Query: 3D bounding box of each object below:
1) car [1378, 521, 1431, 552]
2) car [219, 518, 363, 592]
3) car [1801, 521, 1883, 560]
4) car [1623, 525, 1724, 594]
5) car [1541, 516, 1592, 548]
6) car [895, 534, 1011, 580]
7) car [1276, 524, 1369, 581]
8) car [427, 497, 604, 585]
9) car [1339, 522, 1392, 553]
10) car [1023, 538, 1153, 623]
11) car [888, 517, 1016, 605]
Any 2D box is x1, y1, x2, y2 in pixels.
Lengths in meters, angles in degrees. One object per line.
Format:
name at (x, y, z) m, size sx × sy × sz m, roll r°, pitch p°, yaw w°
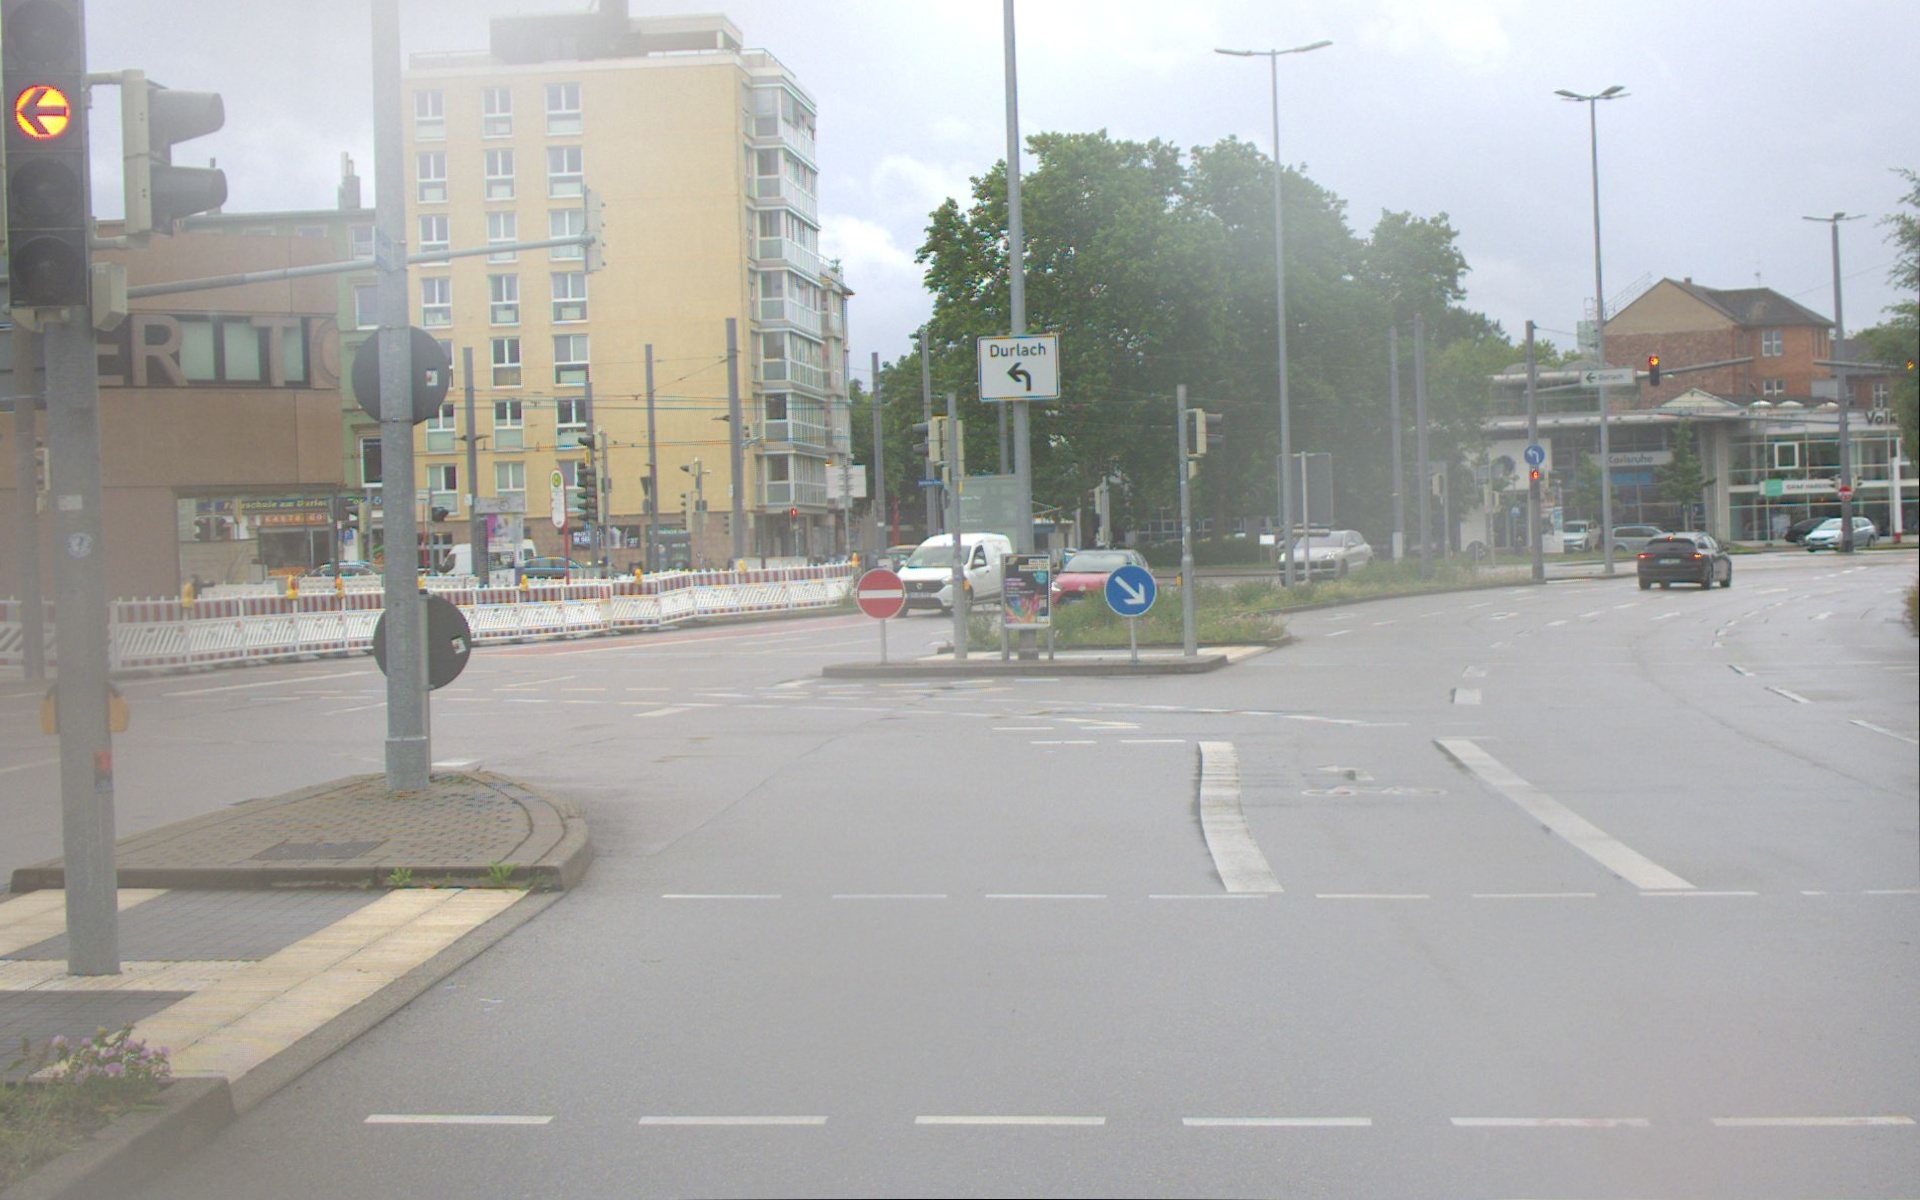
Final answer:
car at (24.590, -3.512, 189.981) m, size 1.792 × 1.637 × 4.154 m, roll -1°, pitch 1°, yaw 23°
car at (-27.615, -1.867, 142.115) m, size 5.351 × 2.877 × 2.339 m, roll -2°, pitch 1°, yaw 2°
car at (39.123, -2.655, 152.489) m, size 1.794 × 1.637 × 4.149 m, roll -1°, pitch 2°, yaw 42°
car at (18.047, -1.031, 86.833) m, size 1.792 × 1.637 × 4.155 m, roll -1°, pitch 1°, yaw 21°
car at (32.910, -3.700, 186.501) m, size 1.792 × 1.637 × 4.154 m, roll -1°, pitch 1°, yaw 23°
car at (-0.262, -1.651, 132.425) m, size 4.382 × 1.637 × 1.796 m, roll -2°, pitch 1°, yaw 0°
car at (11.142, -1.461, 105.497) m, size 1.792 × 1.637 × 4.155 m, roll -1°, pitch 1°, yaw 21°
car at (-18.245, -2.426, 141.472) m, size 6.742 × 3.368 × 2.809 m, roll -2°, pitch 1°, yaw 2°
car at (22.514, -3.470, 190.809) m, size 1.792 × 1.637 × 4.154 m, roll -1°, pitch 1°, yaw 23°
car at (2.678, -0.424, 71.205) m, size 1.791 × 1.637 × 4.044 m, roll -1°, pitch 1°, yaw 15°
car at (-0.137, -0.898, 77.082) m, size 1.791 × 1.852 × 4.156 m, roll -1°, pitch 1°, yaw 15°
